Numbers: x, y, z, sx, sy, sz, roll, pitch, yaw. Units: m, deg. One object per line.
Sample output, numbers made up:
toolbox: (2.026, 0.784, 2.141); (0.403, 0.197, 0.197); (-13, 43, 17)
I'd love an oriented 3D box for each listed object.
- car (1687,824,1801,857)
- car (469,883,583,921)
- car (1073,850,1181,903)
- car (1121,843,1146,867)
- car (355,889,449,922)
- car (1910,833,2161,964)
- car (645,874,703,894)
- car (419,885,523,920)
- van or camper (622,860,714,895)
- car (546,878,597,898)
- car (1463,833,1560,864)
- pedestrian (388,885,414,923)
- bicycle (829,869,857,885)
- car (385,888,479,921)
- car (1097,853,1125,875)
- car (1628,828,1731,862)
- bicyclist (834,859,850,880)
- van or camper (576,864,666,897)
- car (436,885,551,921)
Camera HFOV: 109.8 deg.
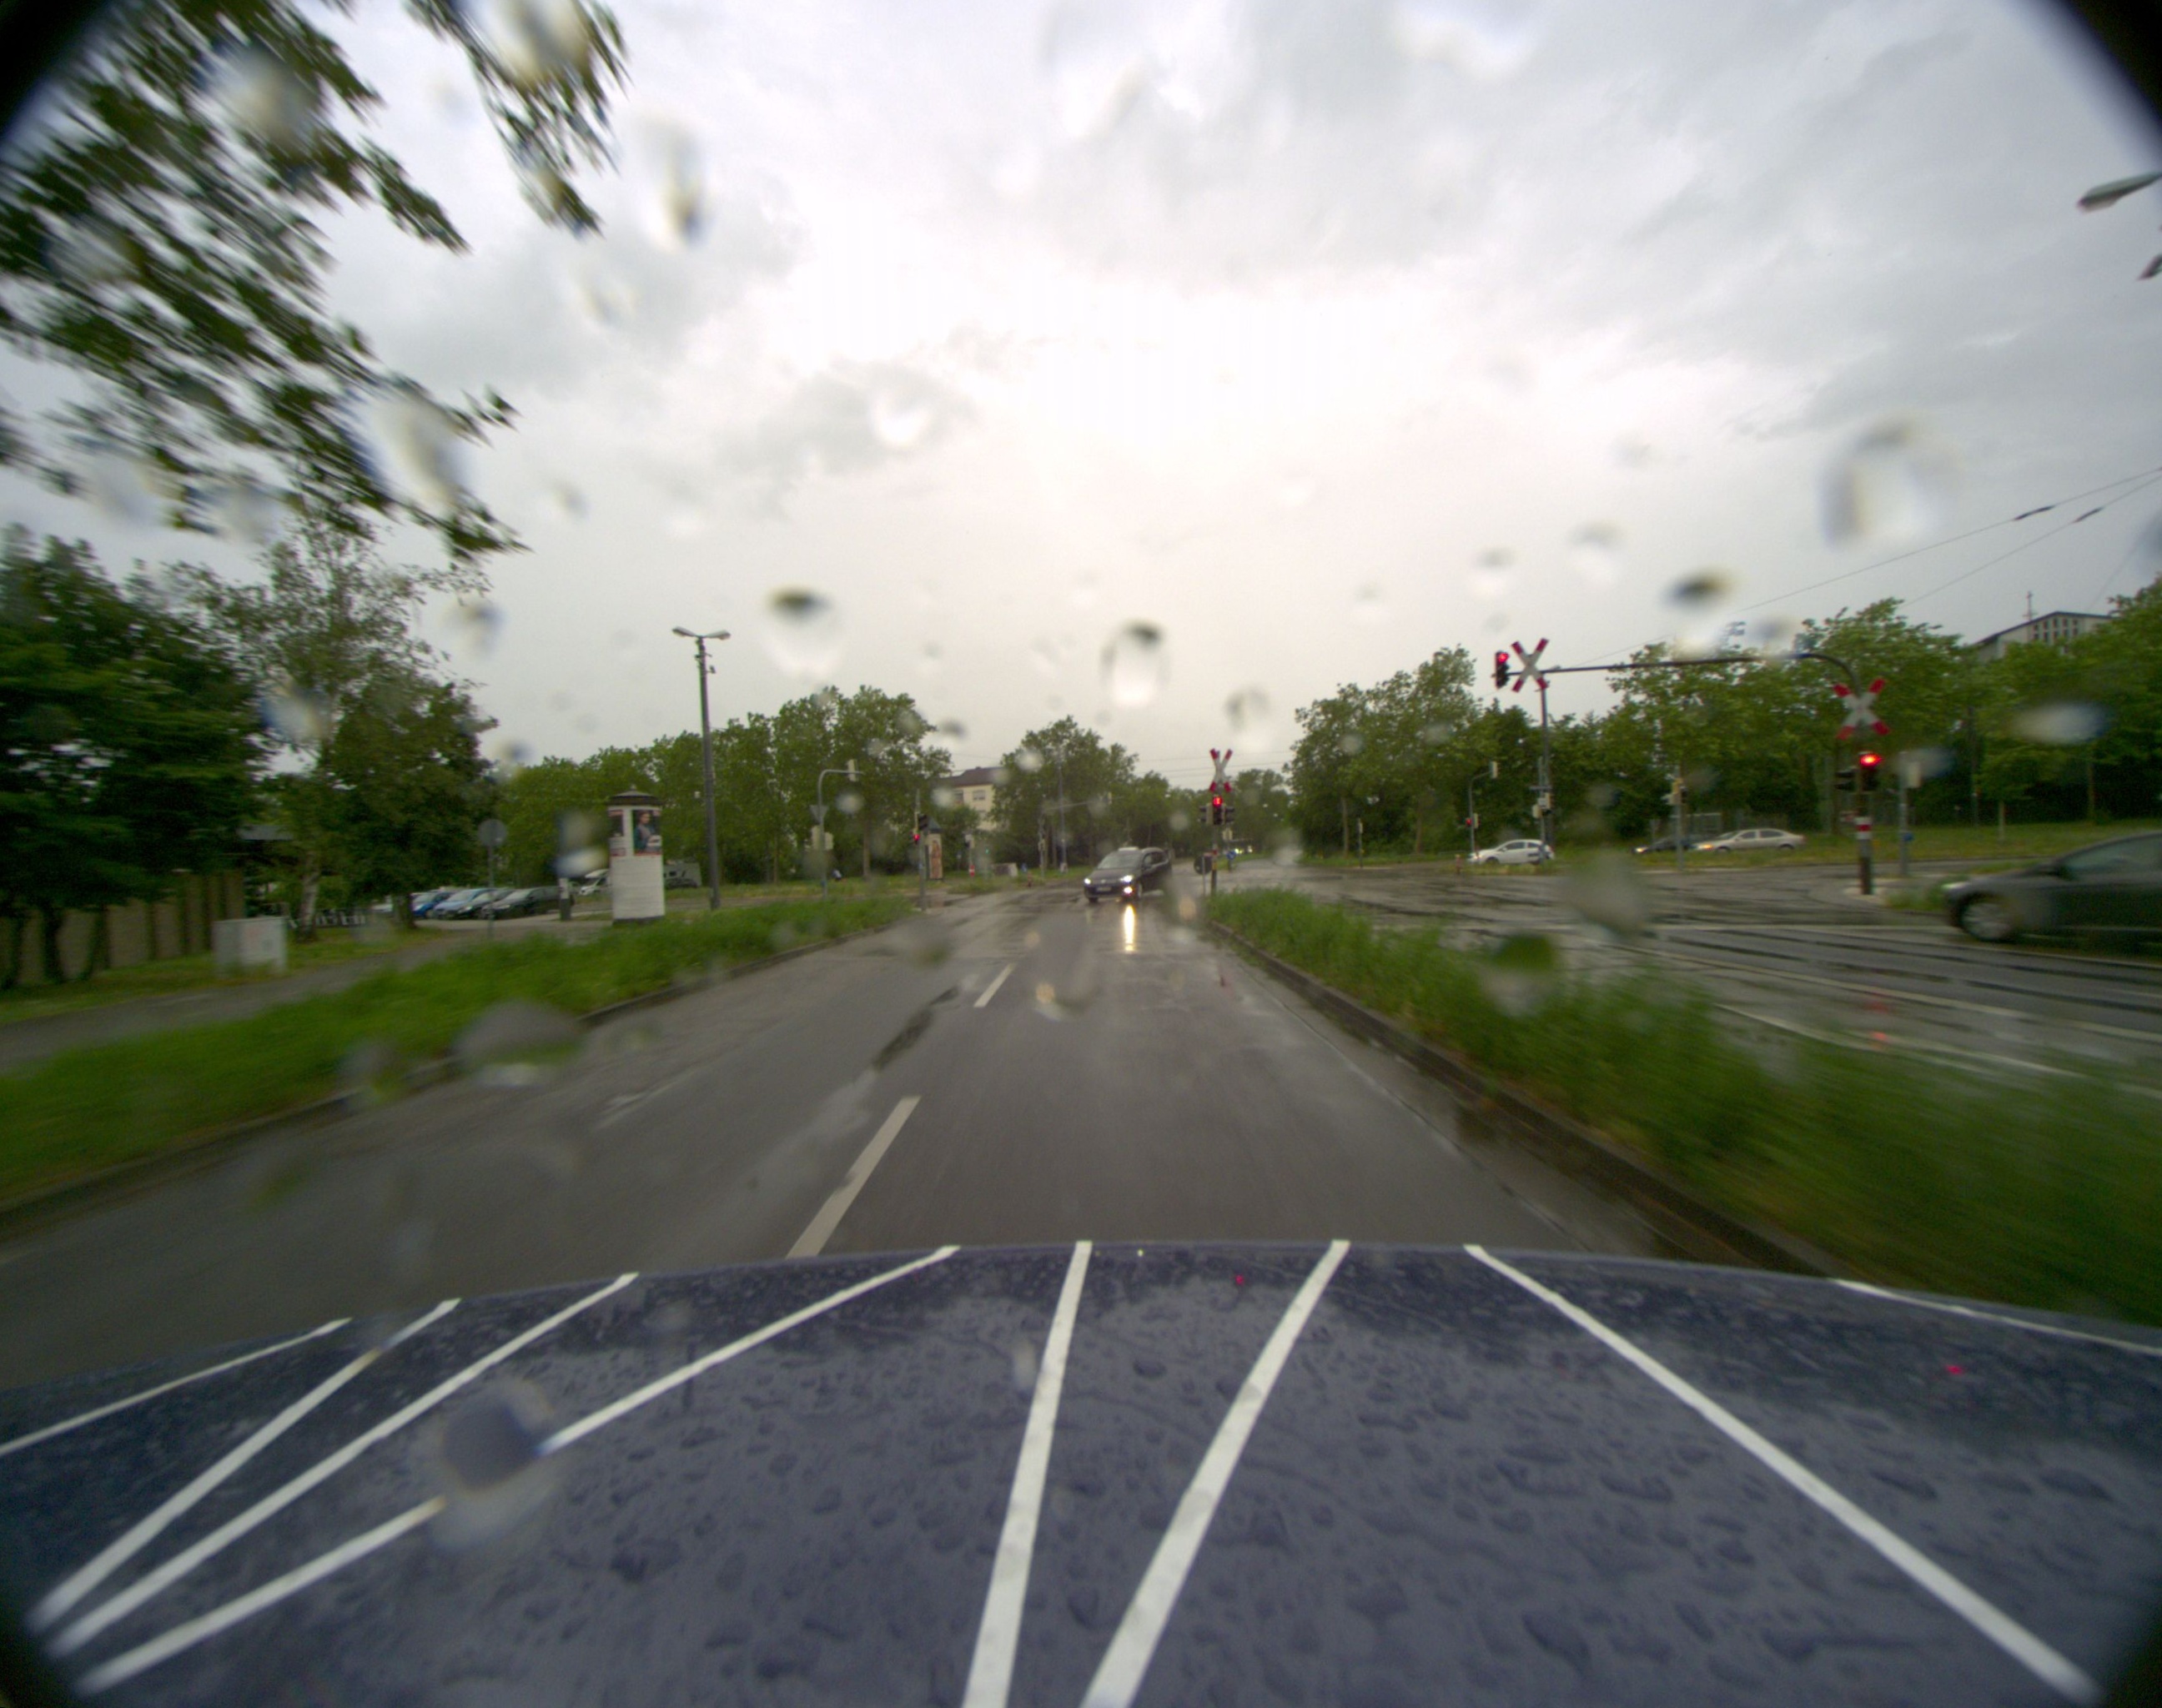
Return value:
car: (32.382, -0.635, 37.215); (3.788, 1.395, 1.791); (-3, -1, 13)
car: (-28.399, 2.414, 39.059); (1.855, 1.410, 4.495); (-3, 2, 14)
car: (1.680, 0.705, 25.744); (1.863, 1.592, 4.533); (-3, -1, 28)
car: (5.587, 0.128, 80.094); (1.997, 2.377, 5.628); (-3, -1, 10)
car: (-41.015, 3.090, 46.036); (1.929, 1.631, 4.121); (-3, 0, -1)
car: (12.506, 0.470, 8.434); (1.804, 1.393, 4.312); (-1, 1, -3)
car: (-39.356, 2.892, 73.555); (1.995, 1.706, 4.467); (-3, -1, 34)
car: (-33.448, 2.626, 41.800); (1.855, 1.572, 4.005); (-3, 0, 18)
van or camper: (-41.617, 2.332, 76.799); (3.254, 3.159, 7.360); (-3, -1, 31)
car: (-56.412, 3.722, 84.156); (2.180, 2.001, 4.196); (-4, -1, 38)
car: (22.332, -0.266, 39.538); (3.991, 1.355, 1.791); (-3, -1, 12)
pedestrian: (-33.062, 2.440, 36.946); (0.884, 1.786, 0.728); (-3, -1, 36)
bicycle: (-18.129, 1.780, 57.902); (1.882, 1.110, 0.693); (-4, -1, 10)
car: (-38.132, 2.943, 44.763); (1.928, 1.572, 4.000); (-3, 0, 2)
car: (2.576, 0.873, 64.028); (1.932, 1.681, 4.411); (-3, -1, 7)
car: (31.948, -0.445, 40.658); (3.803, 1.608, 1.875); (-3, -1, 10)
bicyclist: (-18.202, 1.188, 57.910); (0.843, 1.497, 0.693); (-3, -1, 10)
van or camper: (-49.184, 2.801, 81.469); (3.254, 3.159, 7.465); (-3, -1, 35)
car: (-30.679, 2.525, 39.875); (1.855, 1.410, 4.515); (-3, 1, 14)
